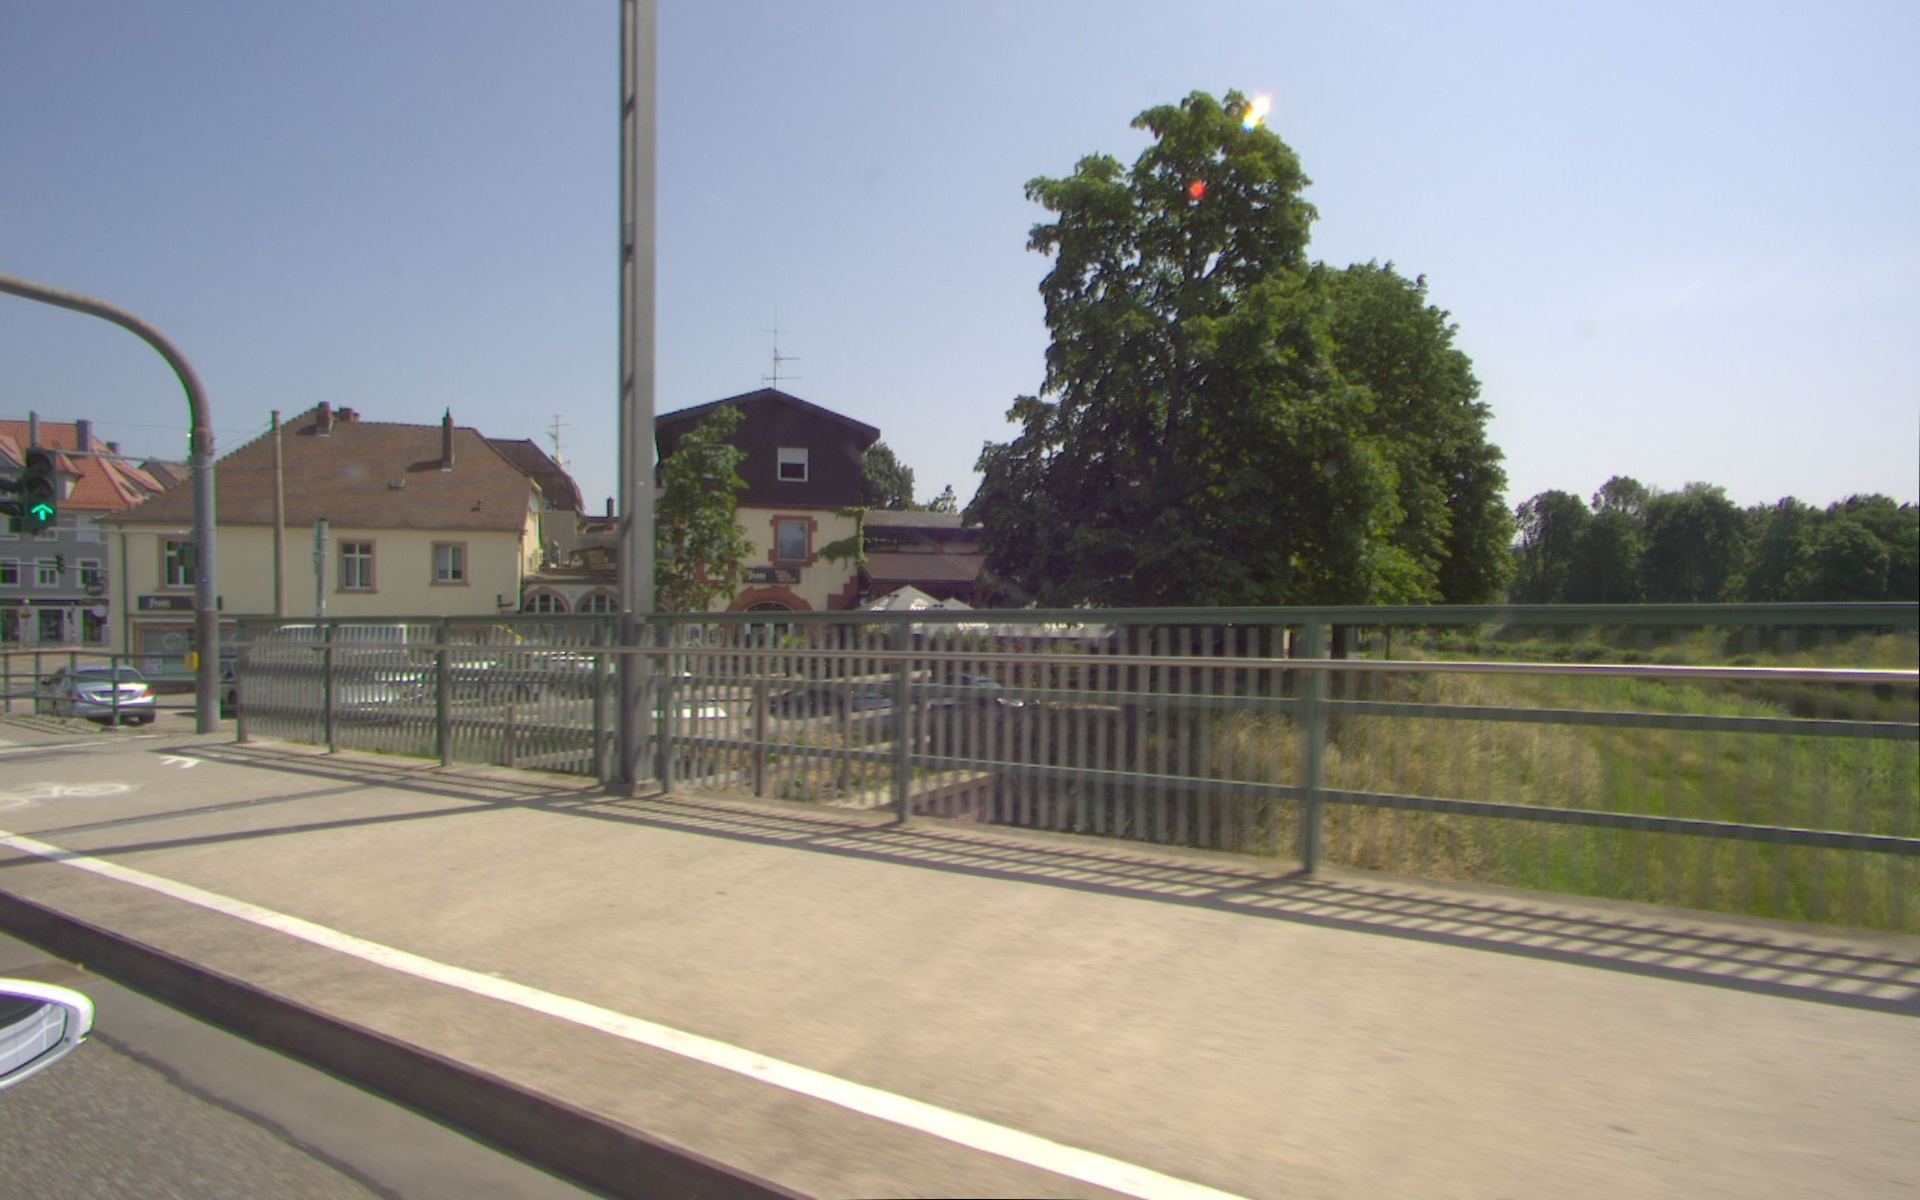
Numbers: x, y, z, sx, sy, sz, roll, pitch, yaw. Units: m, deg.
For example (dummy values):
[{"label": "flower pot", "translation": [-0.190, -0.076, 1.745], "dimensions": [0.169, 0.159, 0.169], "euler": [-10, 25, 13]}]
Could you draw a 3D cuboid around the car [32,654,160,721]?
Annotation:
[{"label": "car", "translation": [-22.077, 2.174, 25.536], "dimensions": [4.202, 1.490, 1.745], "euler": [-1, -2, 39]}]

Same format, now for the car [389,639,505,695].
[{"label": "car", "translation": [-16.421, 2.082, 31.967], "dimensions": [4.202, 1.664, 1.745], "euler": [-1, -2, 39]}]

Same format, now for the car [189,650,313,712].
[{"label": "car", "translation": [-19.797, 2.195, 27.910], "dimensions": [4.202, 1.538, 1.745], "euler": [-1, -2, 39]}]

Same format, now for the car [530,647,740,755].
[{"label": "car", "translation": [-6.466, 1.876, 19.723], "dimensions": [4.280, 1.733, 1.887], "euler": [1, -1, 39]}]

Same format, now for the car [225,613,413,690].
[{"label": "car", "translation": [-23.429, 1.836, 36.918], "dimensions": [5.544, 2.662, 2.234], "euler": [1, 0, -25]}]

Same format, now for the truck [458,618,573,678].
[{"label": "truck", "translation": [-17.387, 1.870, 39.319], "dimensions": [4.005, 2.244, 1.807], "euler": [2, -1, -24]}]

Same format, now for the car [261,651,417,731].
[{"label": "car", "translation": [-15.421, 2.168, 24.790], "dimensions": [4.431, 1.600, 1.921], "euler": [1, -1, 39]}]

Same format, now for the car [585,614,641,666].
[{"label": "car", "translation": [-14.426, 1.635, 41.756], "dimensions": [1.631, 2.040, 3.997], "euler": [1, -1, -11]}]

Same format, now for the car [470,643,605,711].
[{"label": "car", "translation": [-11.959, 2.098, 28.224], "dimensions": [4.202, 1.727, 1.745], "euler": [-1, -2, 39]}]
